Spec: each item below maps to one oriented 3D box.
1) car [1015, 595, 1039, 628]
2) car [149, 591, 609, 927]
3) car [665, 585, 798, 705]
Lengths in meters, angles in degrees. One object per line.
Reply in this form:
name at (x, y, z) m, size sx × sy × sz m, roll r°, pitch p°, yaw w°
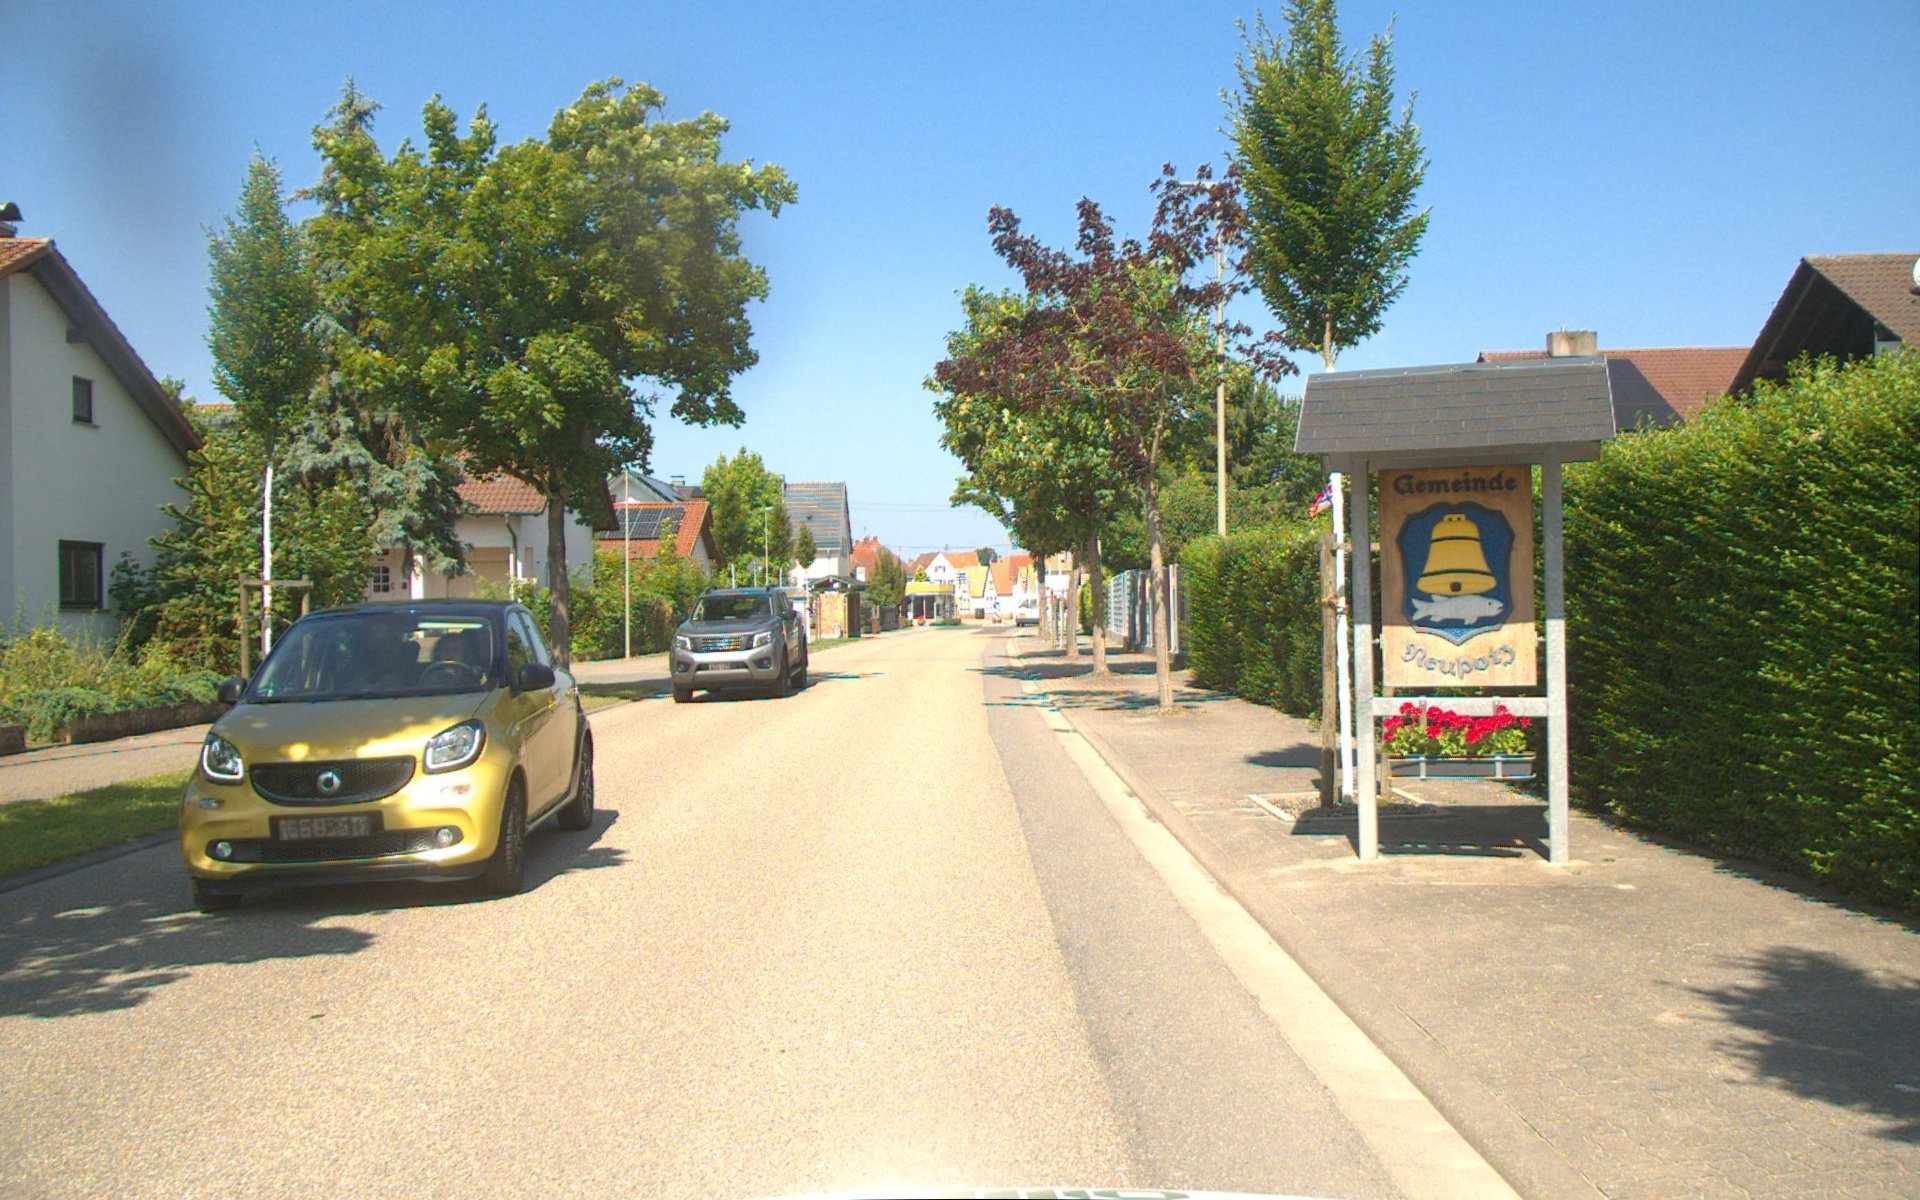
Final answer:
car at (5.189, 0.902, 128.250) m, size 1.701 × 2.474 × 4.375 m, roll -1°, pitch 0°, yaw 2°
car at (-3.162, 0.769, 9.706) m, size 1.633 × 1.550 × 3.439 m, roll -2°, pitch 0°, yaw -4°
car at (-3.766, 0.705, 27.848) m, size 1.799 × 1.783 × 3.794 m, roll -3°, pitch 0°, yaw -3°
